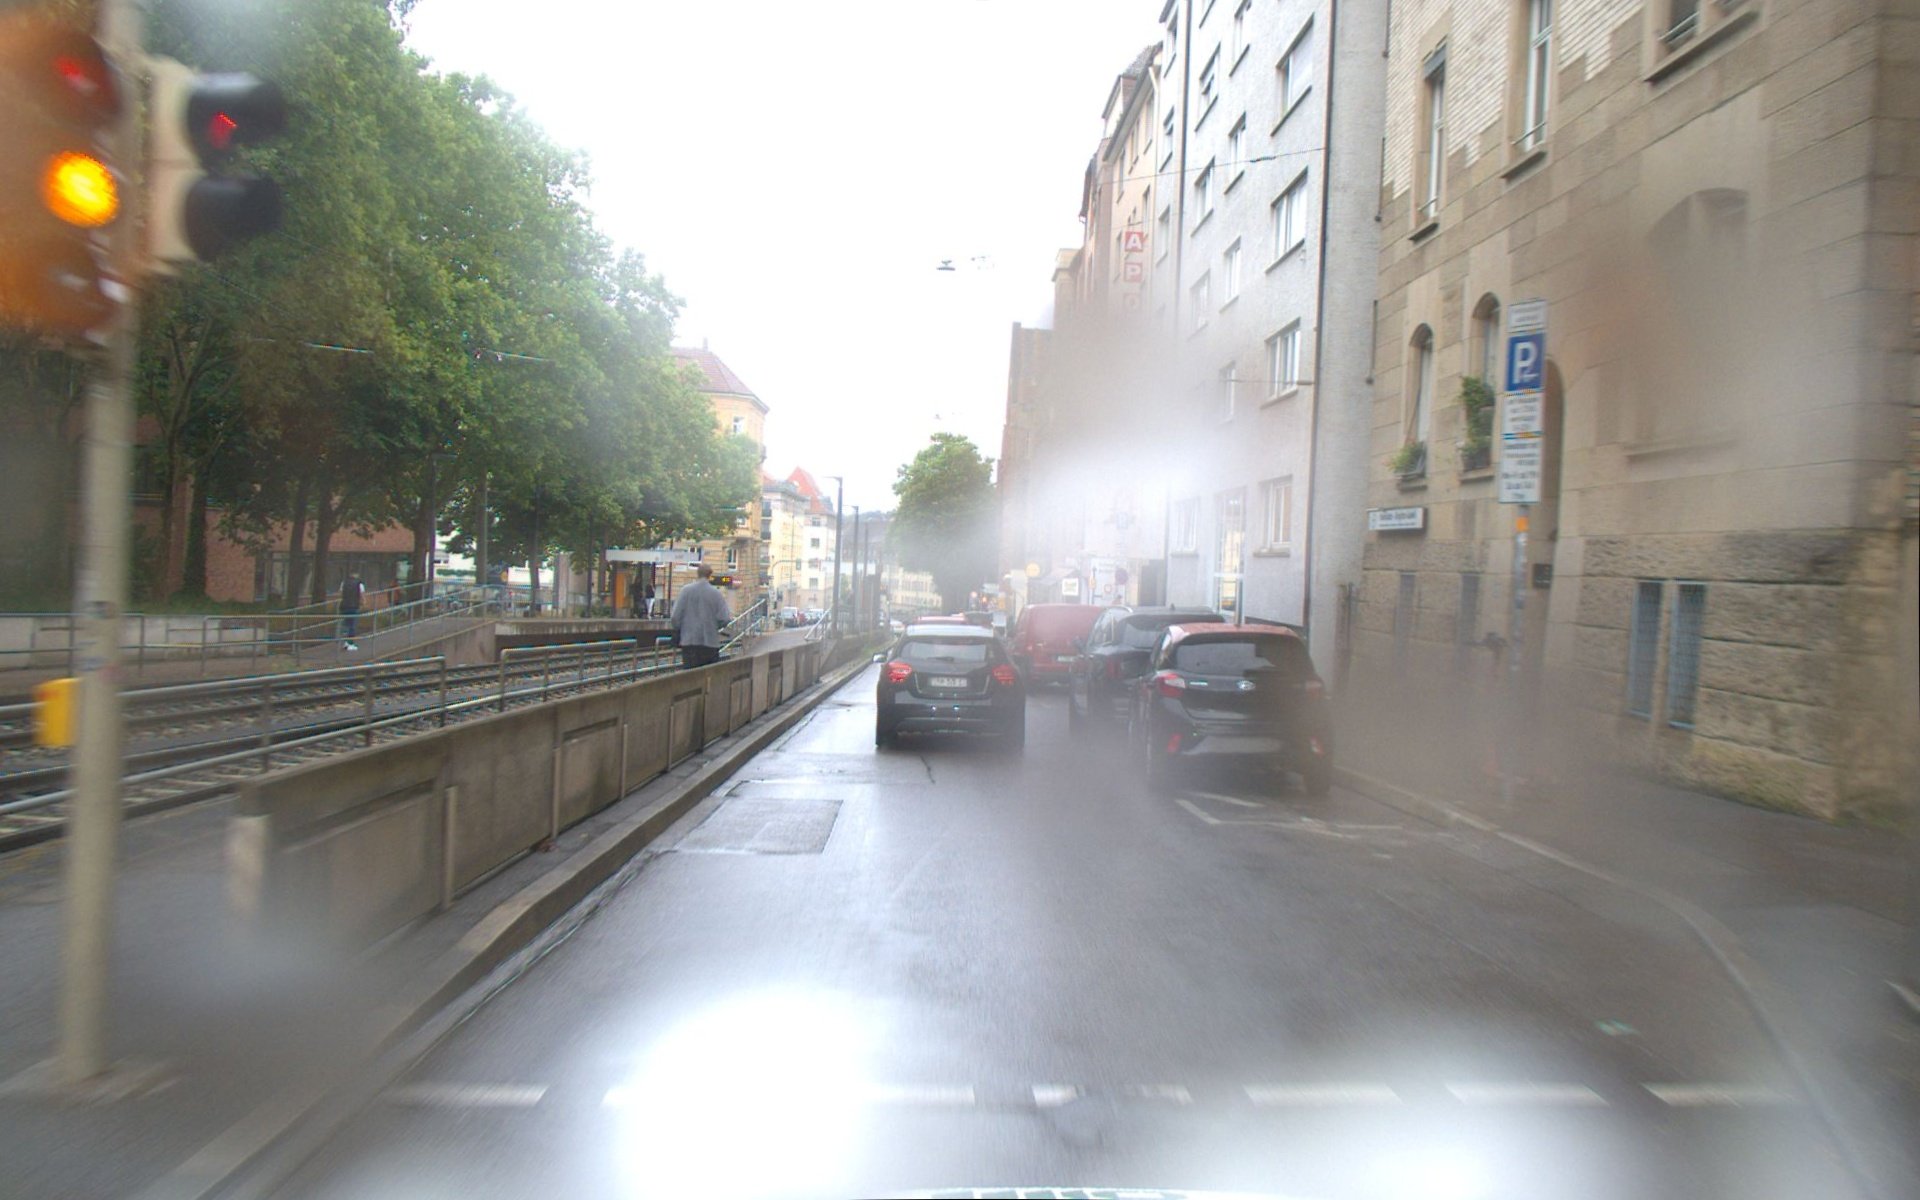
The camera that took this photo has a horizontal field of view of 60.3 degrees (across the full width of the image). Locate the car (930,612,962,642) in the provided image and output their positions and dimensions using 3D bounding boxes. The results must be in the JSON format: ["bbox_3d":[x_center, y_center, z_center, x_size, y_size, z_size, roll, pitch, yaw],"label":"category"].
[{"bbox_3d":[-0.961,1.825,111.378,1.895,1.863,4.277,2,0,-4],"label":"car"}]

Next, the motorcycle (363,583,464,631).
[{"bbox_3d":[-22.709,0.283,68.775,3.787,1.805,1.006,2,-1,-3],"label":"motorcycle"}]

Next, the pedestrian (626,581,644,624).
[{"bbox_3d":[-13.438,0.109,68.430,0.551,1.745,0.705,3,0,-3],"label":"pedestrian"}]

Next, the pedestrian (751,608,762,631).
[{"bbox_3d":[-16.418,1.564,133.305,0.745,1.780,0.645,1,0,0],"label":"pedestrian"}]

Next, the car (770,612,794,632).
[{"bbox_3d":[-17.318,2.124,161.051,1.953,1.892,3.999,1,0,-1],"label":"car"}]

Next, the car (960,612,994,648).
[{"bbox_3d":[0.979,1.715,96.512,1.881,1.970,4.685,2,0,0],"label":"car"}]

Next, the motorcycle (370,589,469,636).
[{"bbox_3d":[-22.931,0.537,70.278,3.787,1.847,1.006,2,-1,-3],"label":"motorcycle"}]

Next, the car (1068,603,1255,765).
[{"bbox_3d":[2.396,0.944,20.747,1.729,1.738,4.499,2,0,0],"label":"car"}]

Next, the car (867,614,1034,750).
[{"bbox_3d":[-0.118,0.938,20.554,1.856,1.414,4.000,1,1,-1],"label":"car"}]

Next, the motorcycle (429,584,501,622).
[{"bbox_3d":[-22.962,0.146,76.792,2.997,1.656,1.006,2,-1,-3],"label":"motorcycle"}]

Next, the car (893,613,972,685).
[{"bbox_3d":[-0.669,1.093,38.026,1.646,1.515,3.610,1,0,-3],"label":"car"}]

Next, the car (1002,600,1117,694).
[{"bbox_3d":[2.117,0.983,36.555,1.935,1.870,5.242,2,-1,-3],"label":"car"}]

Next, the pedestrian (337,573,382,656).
[{"bbox_3d":[-12.616,0.301,34.779,0.644,1.692,0.687,2,2,-1],"label":"pedestrian"}]

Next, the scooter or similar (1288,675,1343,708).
[{"bbox_3d":[5.843,1.502,27.219,0.842,0.515,0.257,1,-1,30],"label":"scooter or similar"}]

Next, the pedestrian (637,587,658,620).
[{"bbox_3d":[-13.556,0.153,71.866,0.762,1.386,0.564,3,0,-3],"label":"pedestrian"}]

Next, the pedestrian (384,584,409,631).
[{"bbox_3d":[-25.092,0.339,73.635,0.718,2.049,0.980,2,-1,-2],"label":"pedestrian"}]

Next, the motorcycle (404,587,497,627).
[{"bbox_3d":[-22.667,0.309,73.653,3.787,1.633,1.006,2,-1,-3],"label":"motorcycle"}]

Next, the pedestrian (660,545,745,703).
[{"bbox_3d":[-3.088,0.284,19.901,0.842,1.830,0.787,2,0,-2],"label":"pedestrian"}]

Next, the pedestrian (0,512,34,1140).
[{"bbox_3d":[-3.028,0.610,4.418,0.637,1.734,0.661,2,0,21],"label":"pedestrian"}]

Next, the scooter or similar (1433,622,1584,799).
[{"bbox_3d":[4.400,0.865,13.371,0.360,1.338,1.562,0,-2,-14],"label":"scooter or similar"}]

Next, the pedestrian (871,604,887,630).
[{"bbox_3d":[-5.675,1.209,115.786,0.735,1.754,0.729,3,-1,-44],"label":"pedestrian"}]

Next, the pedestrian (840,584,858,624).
[{"bbox_3d":[-4.514,0.163,67.288,0.485,1.633,0.637,1,-1,15],"label":"pedestrian"}]

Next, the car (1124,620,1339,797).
[{"bbox_3d":[2.524,0.959,16.073,1.627,1.478,3.610,1,-1,3],"label":"car"}]

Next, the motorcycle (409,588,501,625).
[{"bbox_3d":[-23.080,0.297,75.645,3.787,1.514,1.006,2,-1,-3],"label":"motorcycle"}]
